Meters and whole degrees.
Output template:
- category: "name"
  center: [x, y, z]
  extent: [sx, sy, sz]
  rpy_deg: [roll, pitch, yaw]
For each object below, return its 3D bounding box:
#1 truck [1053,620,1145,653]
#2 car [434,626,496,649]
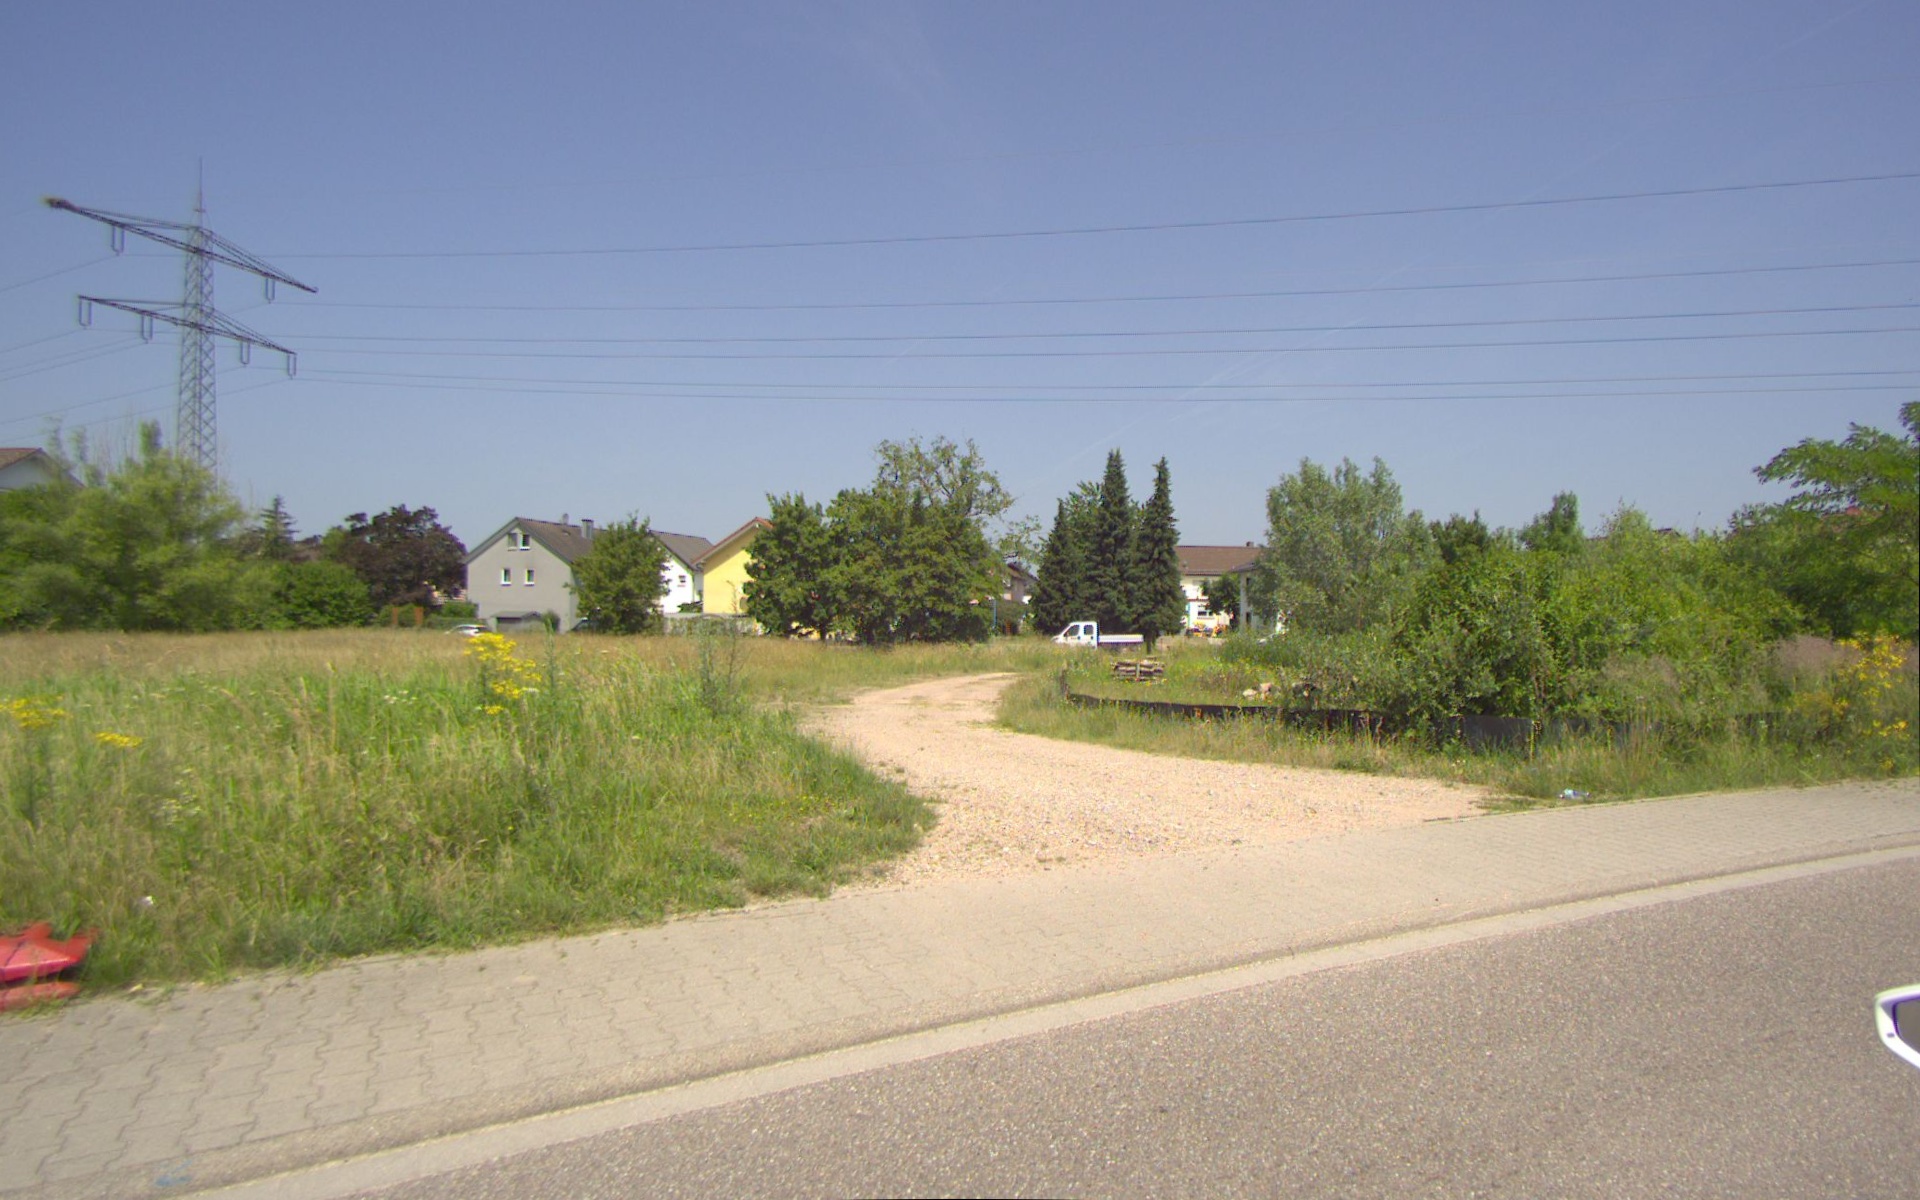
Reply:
- category: "truck"
  center: [9.078, 2.374, 65.891]
  extent: [5.772, 2.037, 2.121]
  rpy_deg: [1, -1, 3]
- category: "car"
  center: [-37.116, 2.794, 75.313]
  extent: [3.921, 1.632, 2.000]
  rpy_deg: [1, -1, 19]
